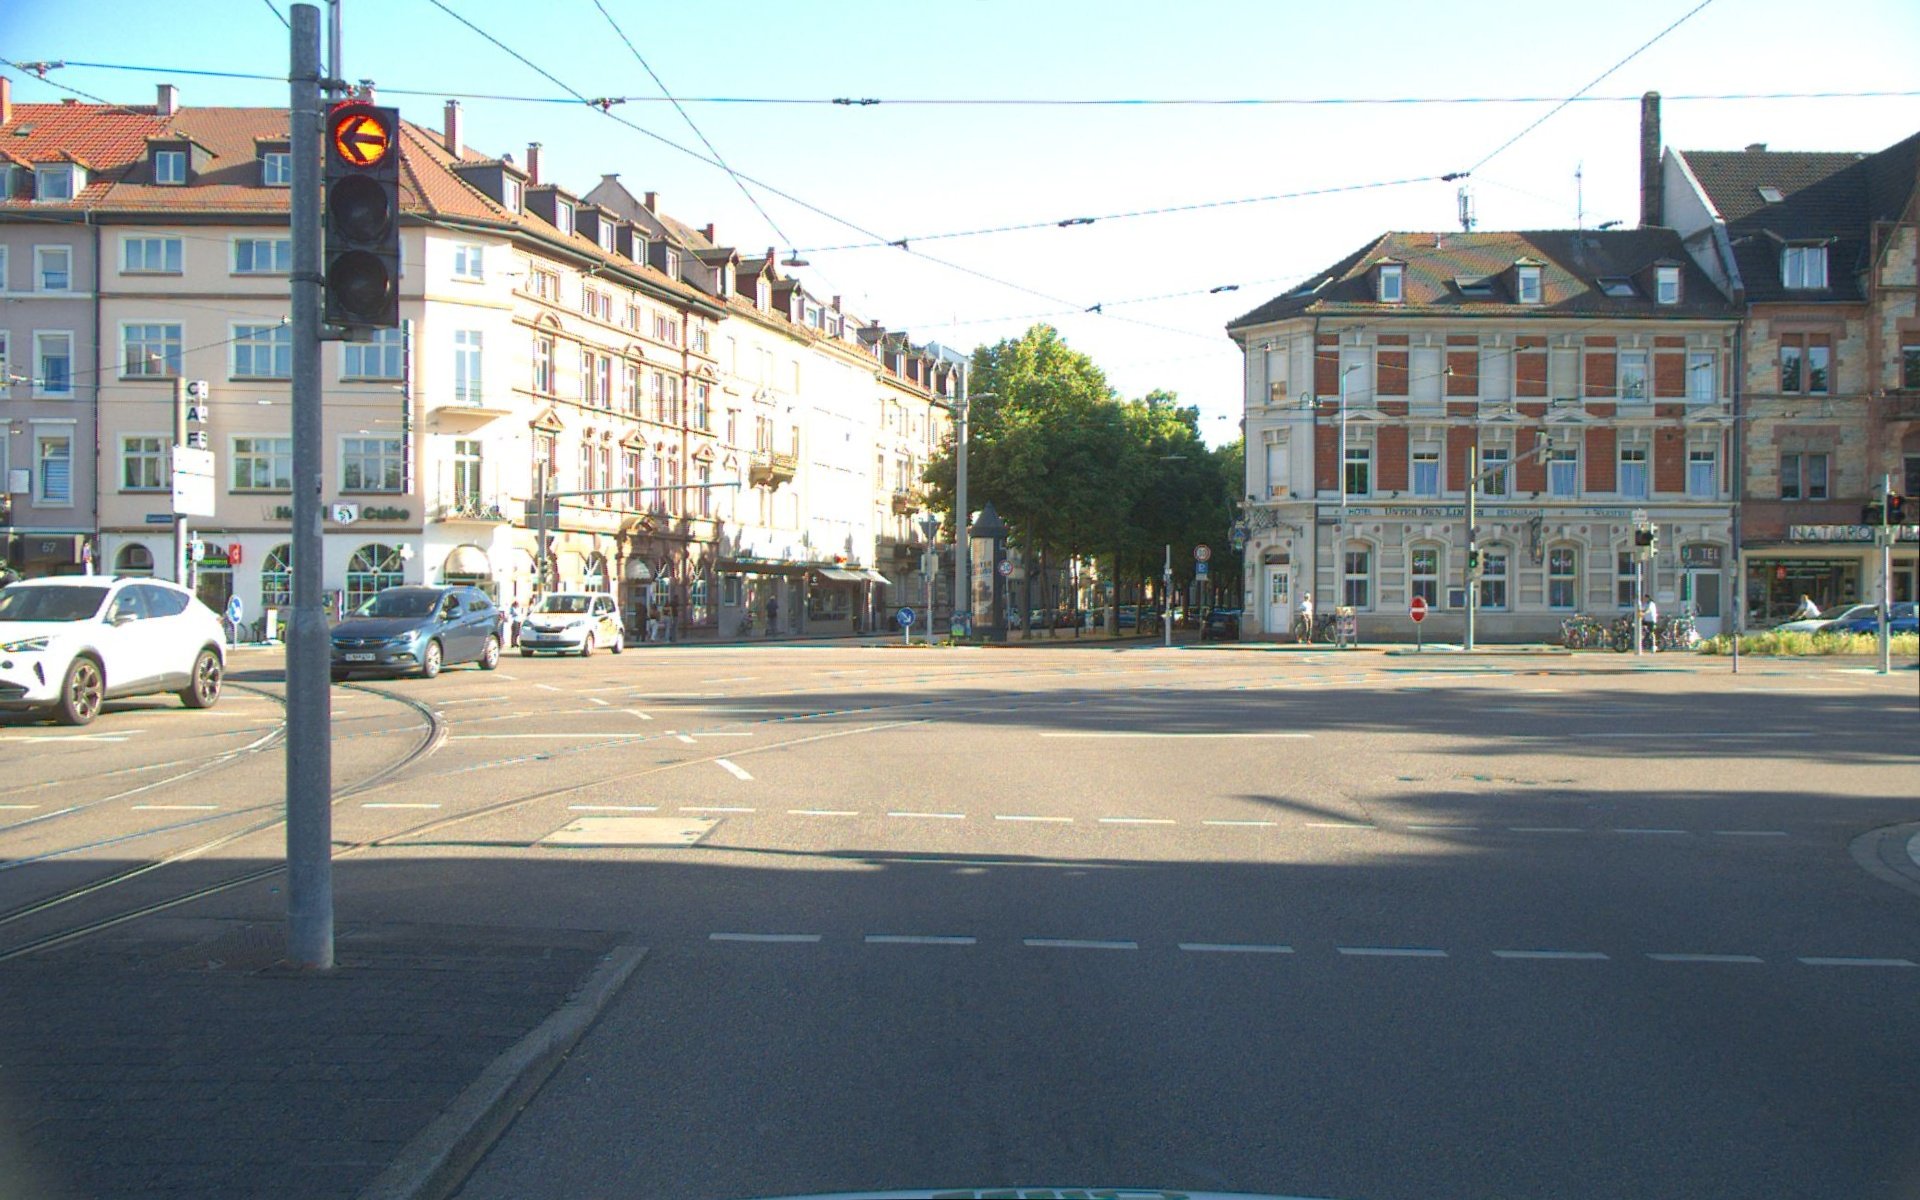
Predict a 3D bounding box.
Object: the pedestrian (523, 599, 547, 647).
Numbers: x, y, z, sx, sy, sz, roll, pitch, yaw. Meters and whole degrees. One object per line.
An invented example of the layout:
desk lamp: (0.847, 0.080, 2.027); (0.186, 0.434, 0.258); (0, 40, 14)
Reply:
pedestrian: (-14.641, 0.788, 56.976); (0.617, 1.670, 0.553); (0, 0, 13)

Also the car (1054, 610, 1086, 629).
car: (9.113, 1.608, 136.630); (1.951, 1.523, 4.037); (0, 0, 13)

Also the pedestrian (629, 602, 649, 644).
pedestrian: (-12.923, 0.925, 66.658); (0.614, 1.670, 0.538); (0, 0, 17)

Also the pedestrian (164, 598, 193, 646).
pedestrian: (-25.586, 0.703, 54.161); (0.645, 1.551, 0.694); (0, 0, -4)

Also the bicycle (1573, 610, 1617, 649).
bicycle: (20.520, 0.951, 53.471); (0.663, 1.211, 1.967); (0, 0, 0)

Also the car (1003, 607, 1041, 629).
car: (4.449, 1.260, 117.393); (1.951, 1.523, 4.037); (0, 0, 13)

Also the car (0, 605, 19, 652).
car: (-32.479, 0.893, 52.131); (4.547, 1.465, 1.743); (0, -1, -4)

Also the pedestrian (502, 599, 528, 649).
pedestrian: (-14.955, 0.788, 55.615); (0.661, 1.670, 0.579); (0, 0, 13)

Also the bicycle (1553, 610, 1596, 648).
bicycle: (19.832, 0.923, 53.434); (0.663, 1.211, 1.967); (0, 0, 0)

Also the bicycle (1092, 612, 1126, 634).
bicycle: (7.467, 1.156, 82.838); (0.577, 1.086, 1.924); (0, 0, -37)

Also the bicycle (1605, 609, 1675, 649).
bicycle: (21.061, 0.899, 51.223); (1.920, 1.211, 0.602); (0, 0, 2)

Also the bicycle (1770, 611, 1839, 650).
bicycle: (26.465, 0.944, 51.826); (1.923, 1.211, 0.601); (0, 0, -6)

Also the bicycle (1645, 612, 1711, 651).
bicycle: (23.043, 0.998, 53.104); (1.926, 1.211, 0.677); (0, 0, -13)

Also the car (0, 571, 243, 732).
car: (-9.725, 0.481, 17.883); (1.952, 1.523, 4.348); (0, 0, 2)

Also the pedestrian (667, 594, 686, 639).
pedestrian: (-11.645, 0.676, 67.909); (0.567, 1.868, 0.633); (0, 0, 15)

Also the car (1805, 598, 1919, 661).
car: (25.914, 0.789, 45.934); (3.906, 1.697, 1.954); (0, 0, -2)

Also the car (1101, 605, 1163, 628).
car: (12.032, 1.174, 115.814); (3.910, 1.572, 1.998); (0, 0, 28)

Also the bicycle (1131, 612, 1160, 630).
bicycle: (11.164, 1.264, 99.385); (0.577, 1.086, 1.924); (0, 0, -37)

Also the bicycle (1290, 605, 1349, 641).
bicycle: (12.458, 0.797, 57.338); (1.919, 1.211, 0.546); (0, 0, 4)

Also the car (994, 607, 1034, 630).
car: (3.703, 1.228, 112.895); (1.951, 1.523, 4.037); (0, 0, 13)

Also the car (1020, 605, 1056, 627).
car: (5.795, 1.164, 122.649); (1.951, 1.523, 4.037); (0, 0, 13)

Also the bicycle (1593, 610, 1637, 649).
bicycle: (21.159, 0.933, 53.481); (0.663, 1.211, 1.967); (0, 0, 0)

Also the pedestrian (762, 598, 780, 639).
pedestrian: (-9.041, 0.867, 79.279); (0.667, 1.942, 0.633); (0, 0, 15)

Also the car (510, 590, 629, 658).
car: (-9.121, 0.523, 38.932); (1.681, 1.523, 3.586); (0, 0, 5)

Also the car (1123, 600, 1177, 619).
car: (15.495, 0.781, 134.626); (3.910, 1.572, 1.998); (0, 0, 28)

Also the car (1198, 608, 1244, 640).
car: (13.073, 1.159, 82.581); (1.951, 1.523, 4.037); (0, 0, 13)

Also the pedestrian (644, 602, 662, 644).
pedestrian: (-12.394, 0.923, 66.742); (0.539, 1.670, 0.538); (0, 0, 15)

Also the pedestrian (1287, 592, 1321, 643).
pedestrian: (11.742, 0.594, 56.476); (0.922, 1.699, 0.713); (0, 0, 42)

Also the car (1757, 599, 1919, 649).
car: (25.966, 0.700, 48.930); (3.906, 1.437, 1.845); (0, 0, -2)

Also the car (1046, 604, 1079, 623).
car: (8.222, 1.070, 132.209); (1.951, 1.523, 4.037); (0, 0, 13)

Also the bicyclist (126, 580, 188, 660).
bicyclist: (-14.026, 0.345, 28.898); (0.590, 1.363, 0.898); (0, 0, 5)

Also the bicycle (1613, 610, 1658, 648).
bicycle: (21.821, 0.929, 53.484); (0.663, 1.211, 1.967); (0, 0, 0)

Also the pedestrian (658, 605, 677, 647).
pedestrian: (-11.801, 1.055, 66.694); (0.539, 1.670, 0.633); (0, 0, 16)

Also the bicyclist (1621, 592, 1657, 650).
bicyclist: (21.025, 0.644, 51.220); (0.854, 1.795, 0.602); (0, 0, 2)

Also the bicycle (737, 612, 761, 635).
bicycle: (-10.132, 1.127, 79.366); (0.484, 1.086, 1.771); (0, 0, 15)

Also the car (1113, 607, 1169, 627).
car: (14.069, 1.319, 128.483); (3.910, 1.572, 1.998); (0, 0, 28)

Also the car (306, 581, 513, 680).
car: (-9.168, 0.465, 27.954); (1.736, 1.523, 4.575); (0, 0, 3)

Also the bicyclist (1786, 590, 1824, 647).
bicyclist: (26.478, 0.578, 51.831); (0.886, 1.795, 0.601); (0, 0, -6)

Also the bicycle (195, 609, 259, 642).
bicycle: (-24.906, 0.855, 56.205); (1.906, 1.086, 0.582); (0, 0, -8)

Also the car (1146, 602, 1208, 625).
car: (15.302, 0.947, 116.705); (3.913, 1.572, 1.996); (0, 0, 30)
